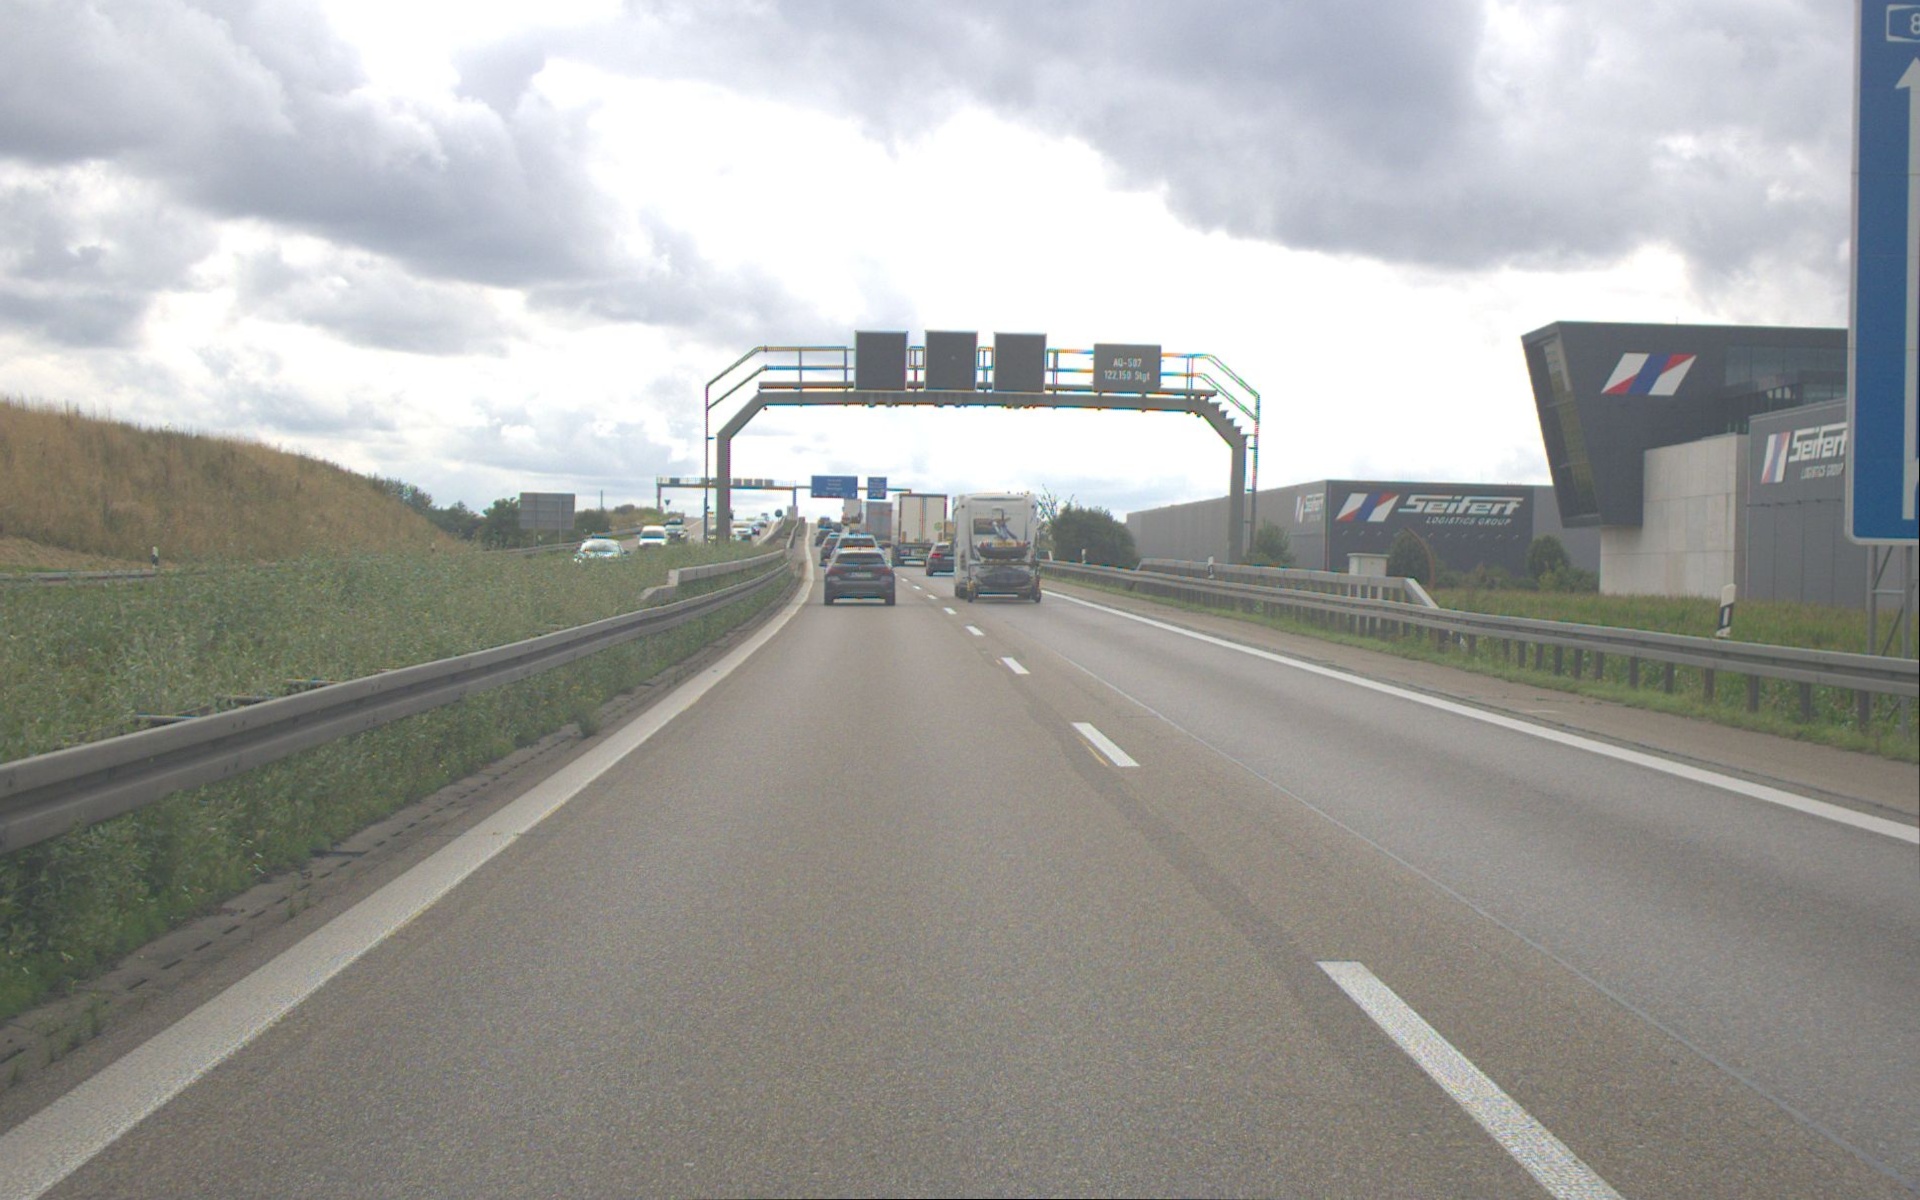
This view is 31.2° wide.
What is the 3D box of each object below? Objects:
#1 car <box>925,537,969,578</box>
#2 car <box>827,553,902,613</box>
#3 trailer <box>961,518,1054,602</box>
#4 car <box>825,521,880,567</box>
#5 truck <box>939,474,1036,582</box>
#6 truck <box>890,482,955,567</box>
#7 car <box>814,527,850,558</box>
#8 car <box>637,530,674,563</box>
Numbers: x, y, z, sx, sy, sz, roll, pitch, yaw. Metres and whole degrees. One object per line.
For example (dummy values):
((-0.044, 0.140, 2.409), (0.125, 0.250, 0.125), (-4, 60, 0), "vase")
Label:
((-0.554, -1.801, 146.702), (1.801, 1.679, 4.000), (1, 1, 0), "car")
((-2.395, -0.436, 87.205), (1.746, 1.448, 4.000), (1, 1, 0), "car")
((1.230, -1.048, 90.283), (2.338, 2.129, 4.000), (1, 1, 0), "trailer")
((-4.076, -2.124, 130.647), (1.945, 1.679, 4.000), (1, 1, 0), "car")
((0.728, -2.006, 97.644), (2.482, 2.940, 5.815), (1, 1, -2), "truck")
((-2.138, -4.144, 190.988), (3.339, 4.519, 8.018), (1, 0, -2), "truck")
((-7.621, -3.403, 204.919), (1.943, 1.769, 3.696), (1, 1, 0), "car")
((-18.725, -3.298, 211.758), (1.993, 2.007, 4.708), (1, 1, -2), "car")
